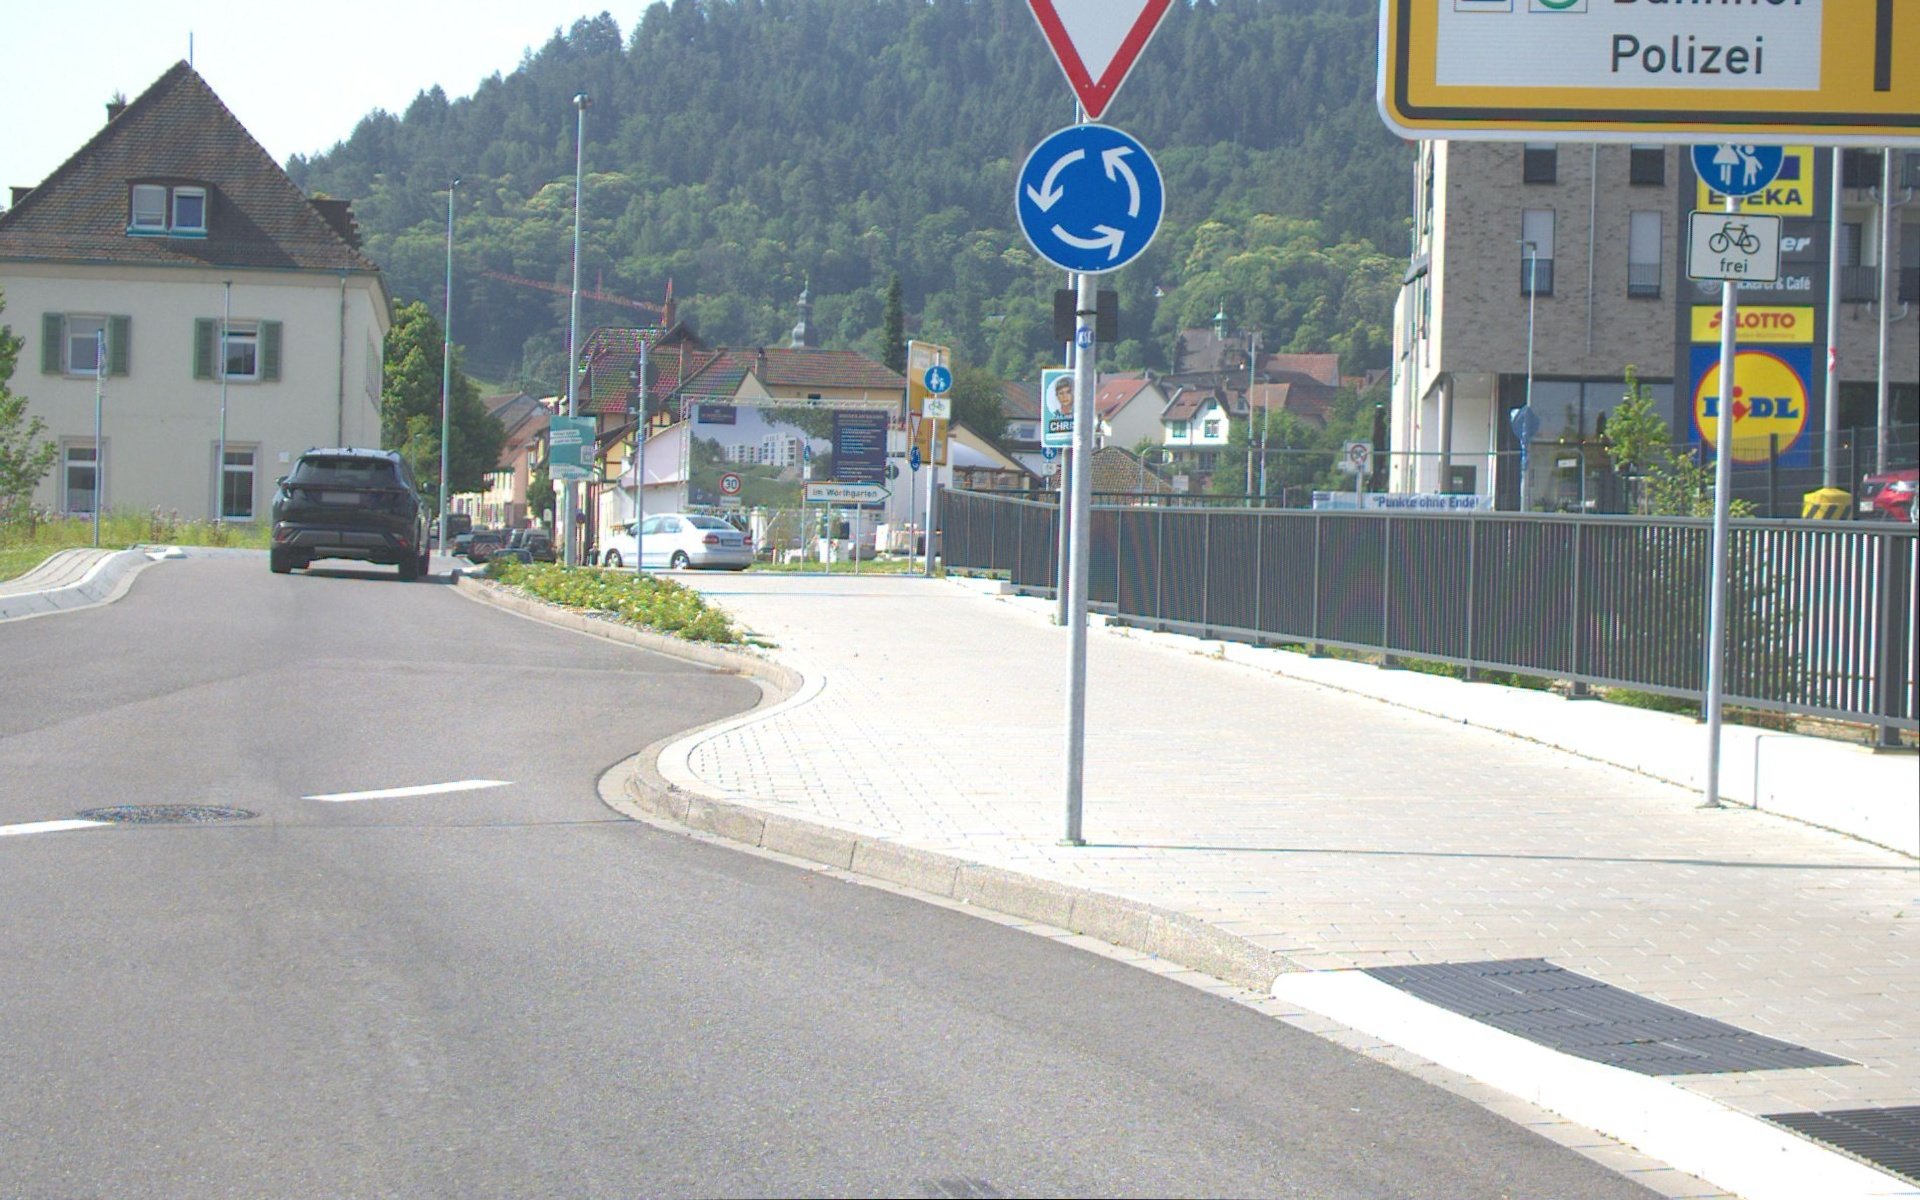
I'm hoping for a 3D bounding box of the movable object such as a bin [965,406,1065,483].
[{"bbox_3d":[1.383,-3.912,86.510,2.443,1.837,1.428,1,1,1],"label":"movable object such as a bin"}]

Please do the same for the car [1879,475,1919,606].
[{"bbox_3d":[12.833,-0.631,39.373,4.055,1.482,1.717,2,2,-5],"label":"car"}]

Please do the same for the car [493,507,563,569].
[{"bbox_3d":[-14.534,-2.067,115.512,1.993,2.007,4.001,1,1,-11],"label":"car"}]

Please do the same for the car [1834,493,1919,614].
[{"bbox_3d":[12.695,-0.533,41.826,3.555,1.425,1.711,2,2,-8],"label":"car"}]

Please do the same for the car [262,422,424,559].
[{"bbox_3d":[-8.035,-1.400,45.046,1.880,1.678,4.001,1,1,-7],"label":"car"}]

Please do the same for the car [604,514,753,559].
[{"bbox_3d":[-6.348,-1.431,77.446,3.276,0.961,1.347,1,1,37],"label":"car"}]
